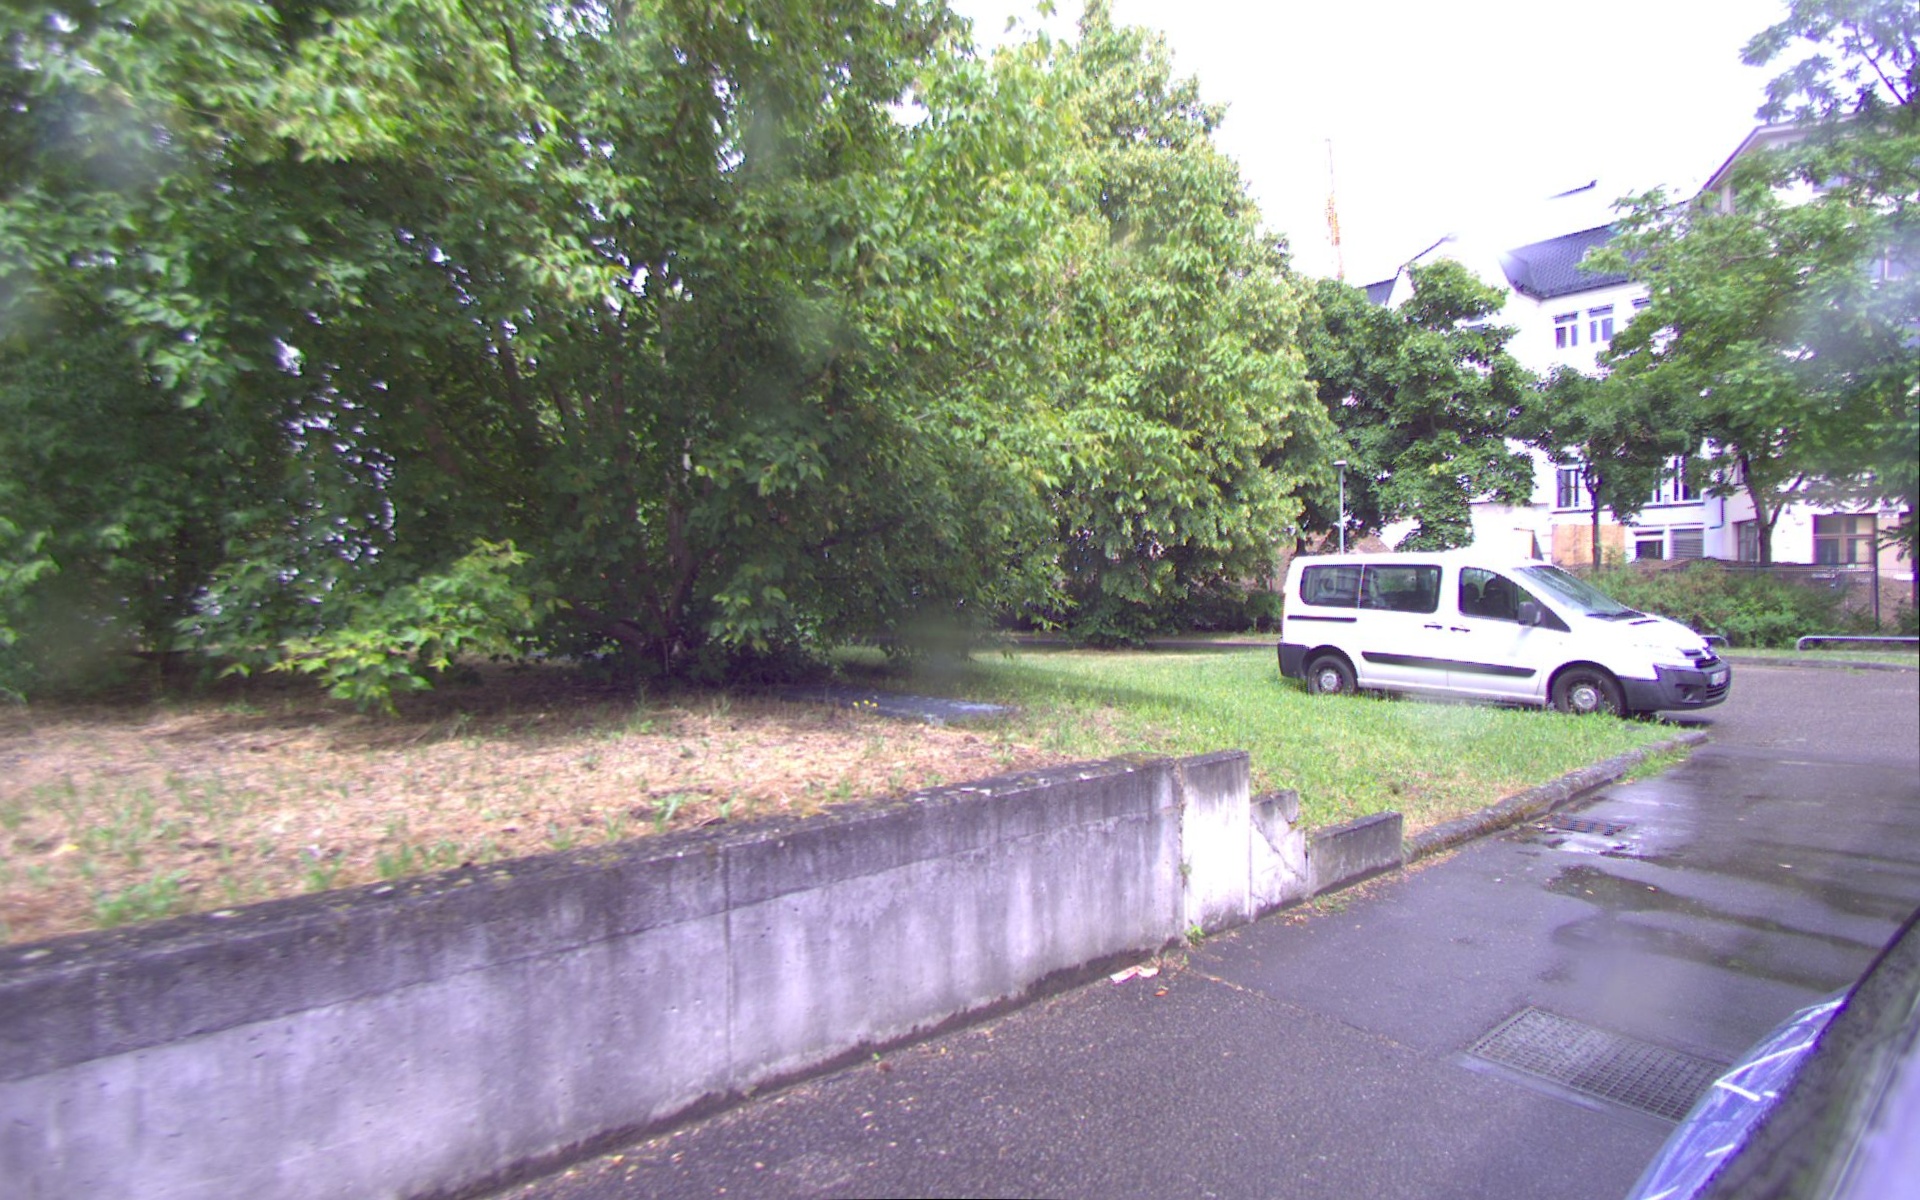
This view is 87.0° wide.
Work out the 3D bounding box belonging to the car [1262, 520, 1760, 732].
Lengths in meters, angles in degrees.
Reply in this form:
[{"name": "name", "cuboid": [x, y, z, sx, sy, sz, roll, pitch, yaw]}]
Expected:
[{"name": "car", "cuboid": [6.360, 0.231, 12.308, 1.963, 2.039, 4.950, -1, 1, -37]}]
